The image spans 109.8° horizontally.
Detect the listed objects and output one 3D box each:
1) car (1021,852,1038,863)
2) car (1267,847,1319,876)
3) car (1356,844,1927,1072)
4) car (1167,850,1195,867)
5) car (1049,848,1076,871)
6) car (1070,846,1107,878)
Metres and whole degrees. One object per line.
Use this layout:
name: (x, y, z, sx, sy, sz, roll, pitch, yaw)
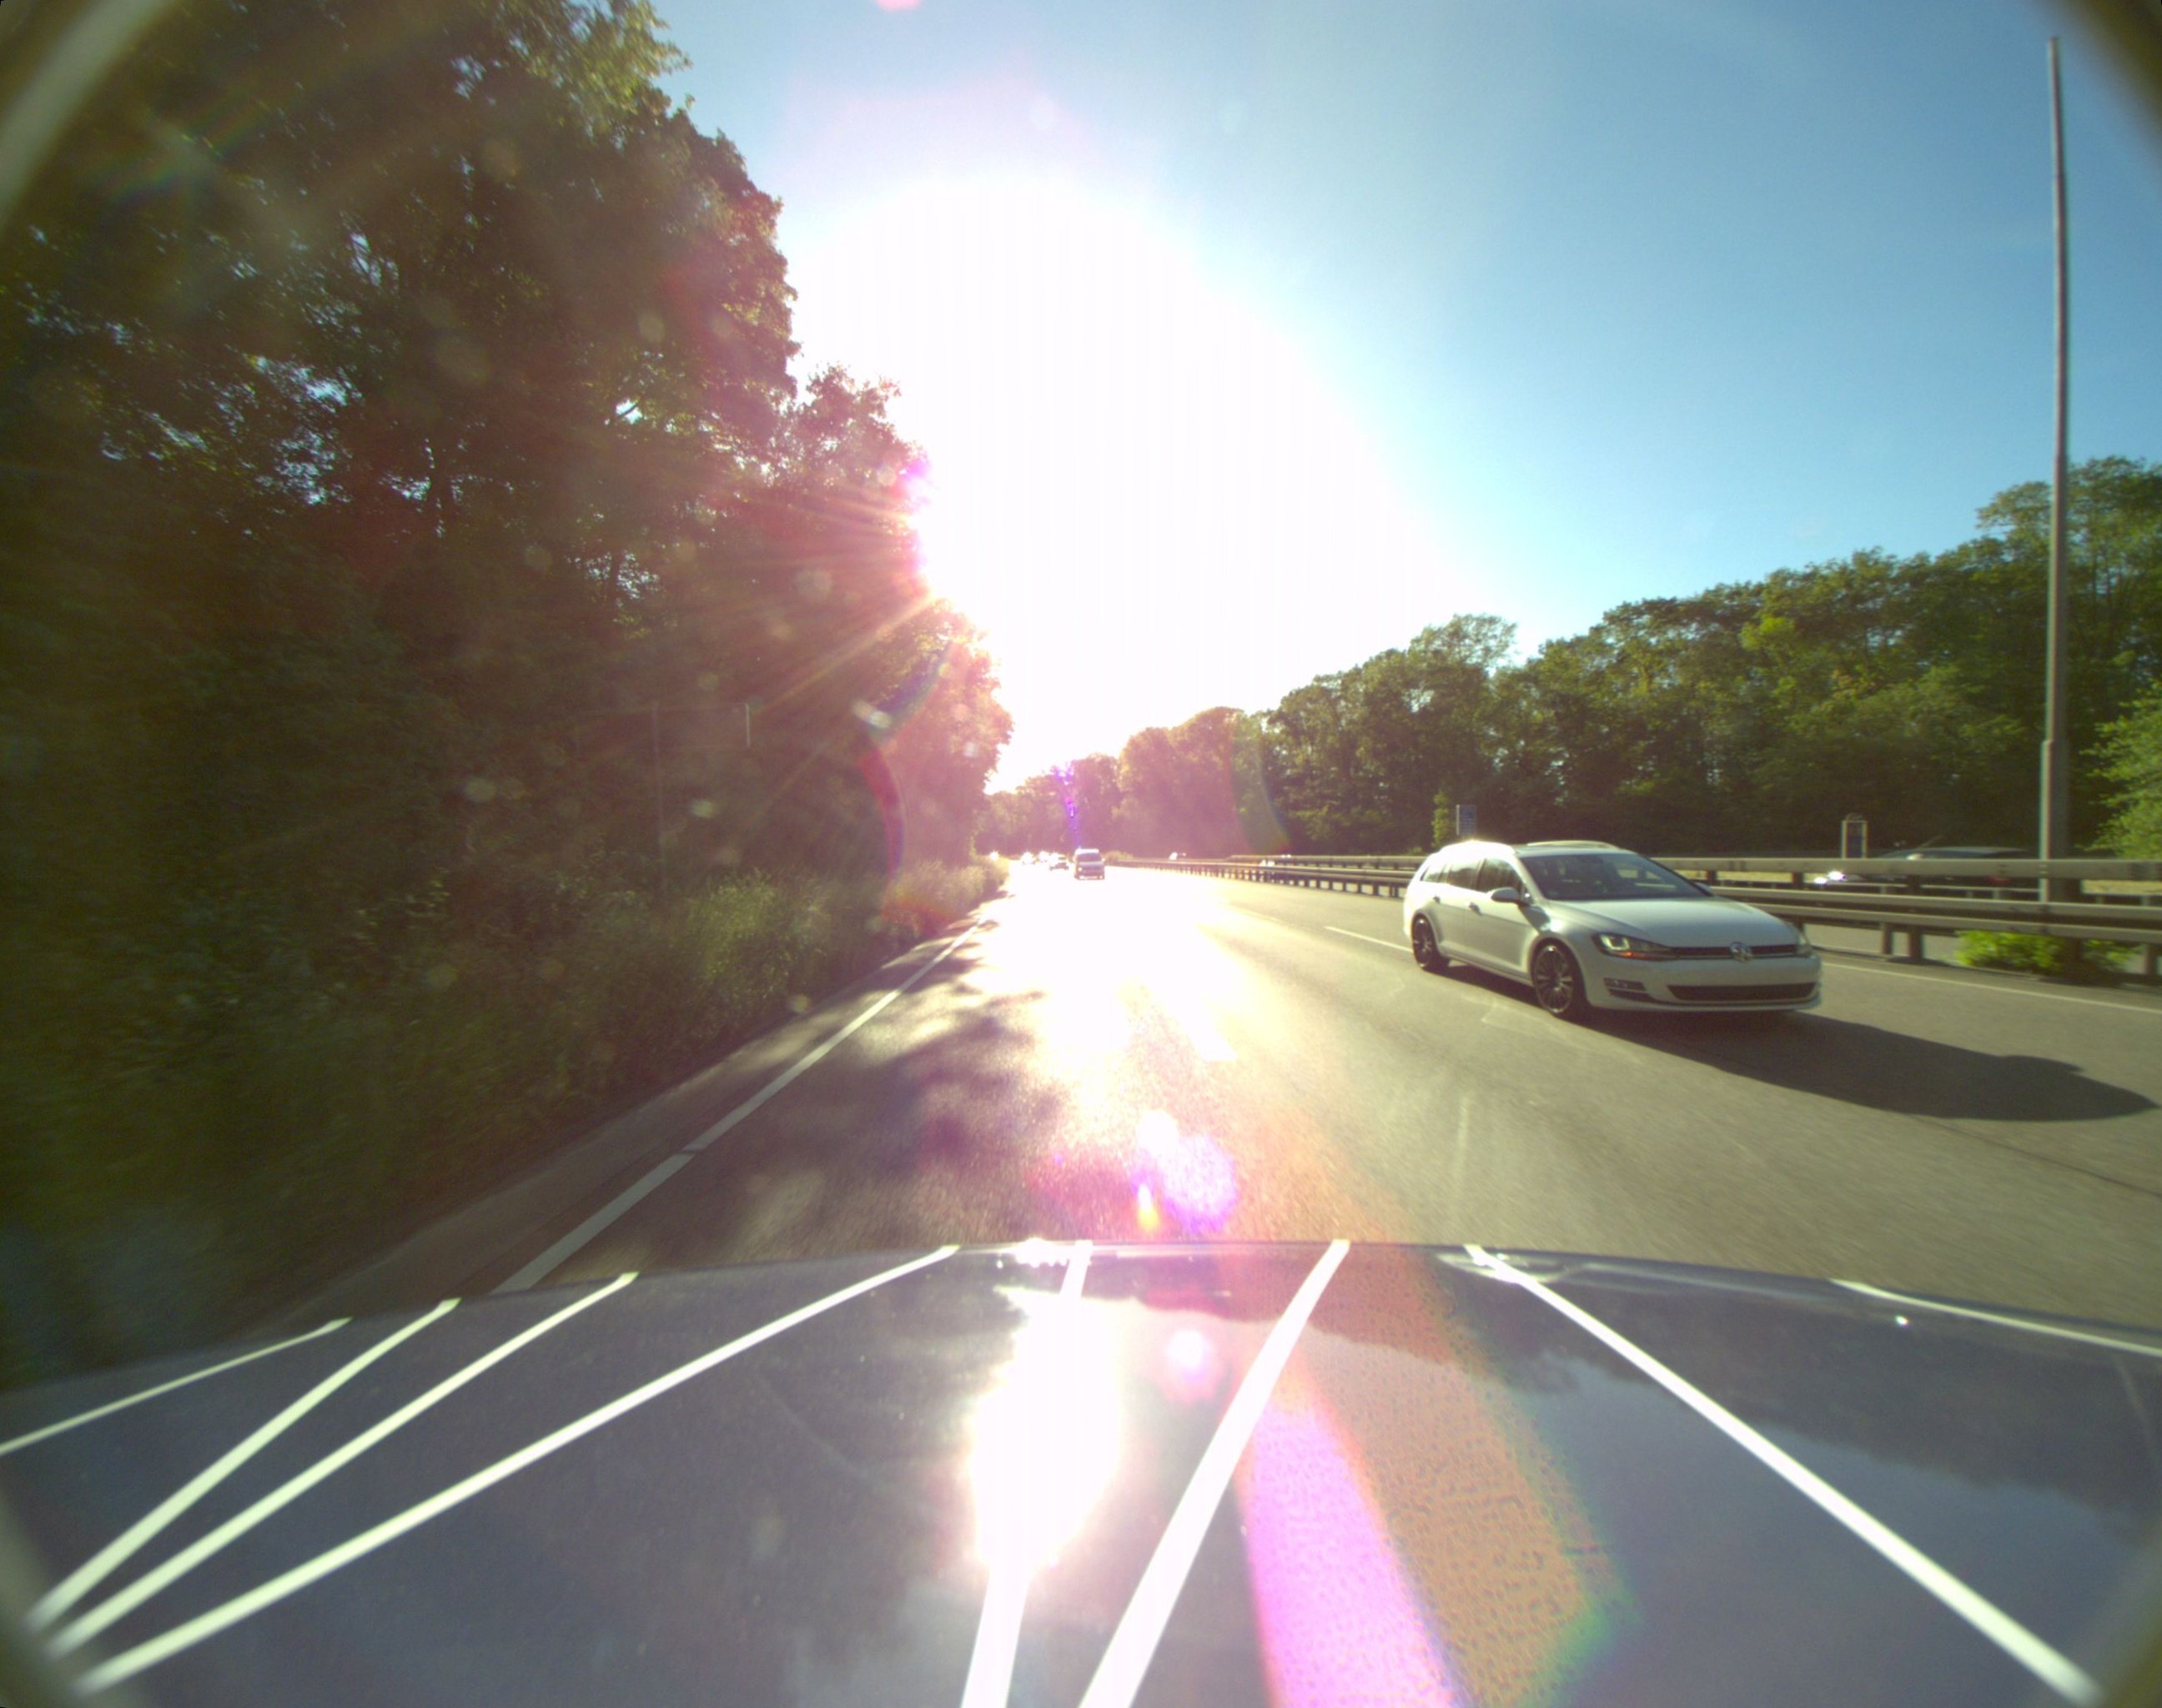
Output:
car: (-7.160, 0.440, 104.932, 1.936, 1.499, 5.081, -1, 1, -9)
car: (13.072, 0.427, 47.117, 1.998, 1.587, 4.289, -2, 1, 1)
car: (4.840, 0.705, 7.986, 1.934, 1.499, 5.599, -2, 0, 1)
car: (11.824, 0.511, 90.265, 2.000, 1.837, 5.307, -2, 1, -7)
car: (-1.792, 0.482, 72.008, 2.257, 1.843, 5.137, -2, 3, -4)
car: (0.420, 0.449, 47.833, 1.800, 1.797, 4.830, -2, 1, -5)
